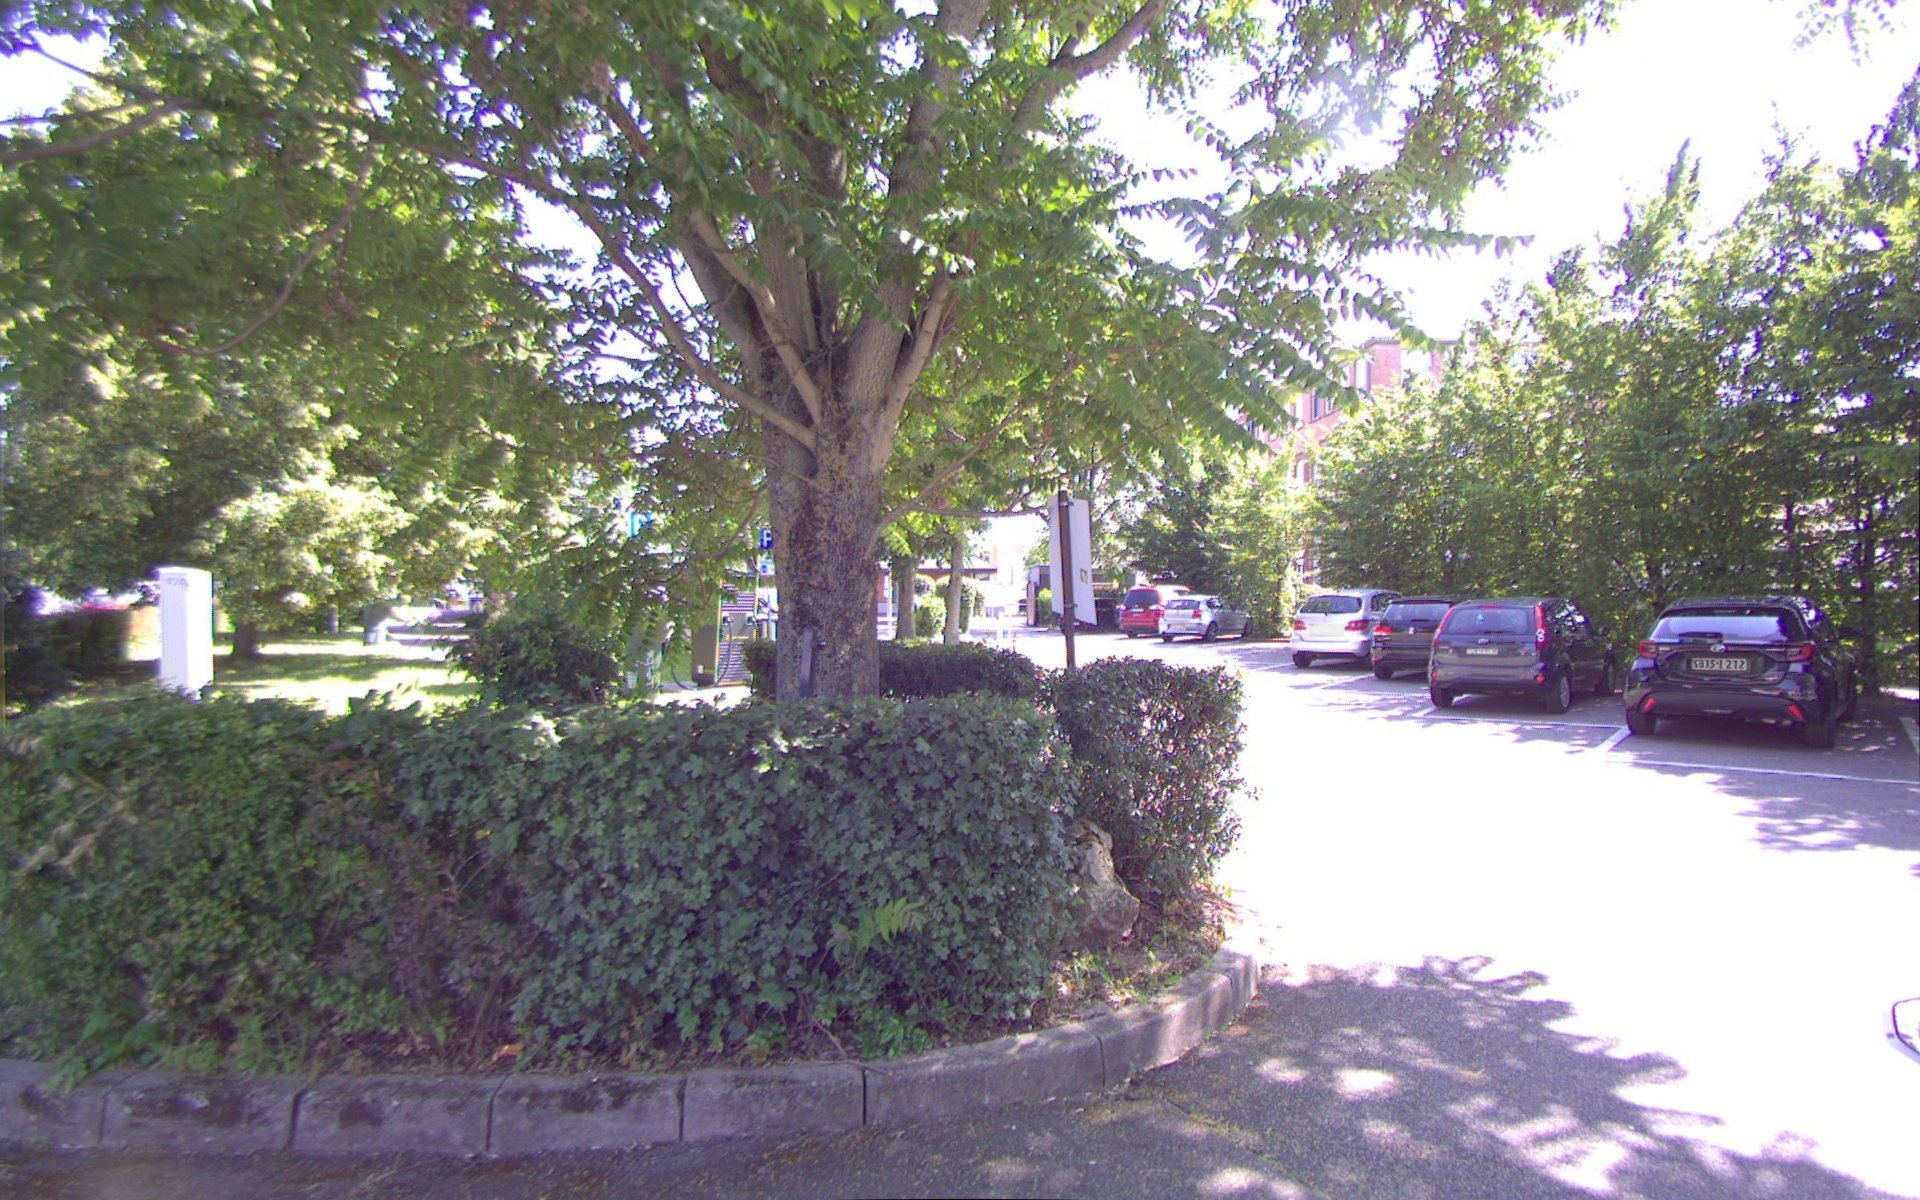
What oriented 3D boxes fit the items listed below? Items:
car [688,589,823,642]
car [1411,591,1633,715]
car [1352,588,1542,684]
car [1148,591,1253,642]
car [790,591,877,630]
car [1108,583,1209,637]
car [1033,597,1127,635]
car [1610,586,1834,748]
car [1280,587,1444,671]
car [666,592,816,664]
[{"bbox_3d":[-6.915,0.488,34.295,1.834,1.708,4.346,1,0,40],"label":"car"},{"bbox_3d":[8.118,0.654,14.364,3.972,1.473,1.683,-2,1,-44],"label":"car"},{"bbox_3d":[8.998,0.591,18.422,3.969,1.489,1.753,-2,1,-42],"label":"car"},{"bbox_3d":[7.750,0.505,32.145,1.747,1.495,3.982,-1,0,39],"label":"car"},{"bbox_3d":[-6.089,0.453,48.025,4.307,1.709,1.851,1,3,44],"label":"car"},{"bbox_3d":[7.097,0.334,35.614,1.748,1.757,3.980,-3,-1,40],"label":"car"},{"bbox_3d":[4.781,0.616,39.669,1.748,1.407,3.980,-1,-1,41],"label":"car"},{"bbox_3d":[8.852,0.627,11.539,1.638,1.489,3.880,-1,1,43],"label":"car"},{"bbox_3d":[8.632,0.543,21.417,3.971,1.593,1.752,-1,1,-43],"label":"car"},{"bbox_3d":[-5.096,0.602,22.978,1.843,1.472,4.325,2,-1,-34],"label":"car"}]
